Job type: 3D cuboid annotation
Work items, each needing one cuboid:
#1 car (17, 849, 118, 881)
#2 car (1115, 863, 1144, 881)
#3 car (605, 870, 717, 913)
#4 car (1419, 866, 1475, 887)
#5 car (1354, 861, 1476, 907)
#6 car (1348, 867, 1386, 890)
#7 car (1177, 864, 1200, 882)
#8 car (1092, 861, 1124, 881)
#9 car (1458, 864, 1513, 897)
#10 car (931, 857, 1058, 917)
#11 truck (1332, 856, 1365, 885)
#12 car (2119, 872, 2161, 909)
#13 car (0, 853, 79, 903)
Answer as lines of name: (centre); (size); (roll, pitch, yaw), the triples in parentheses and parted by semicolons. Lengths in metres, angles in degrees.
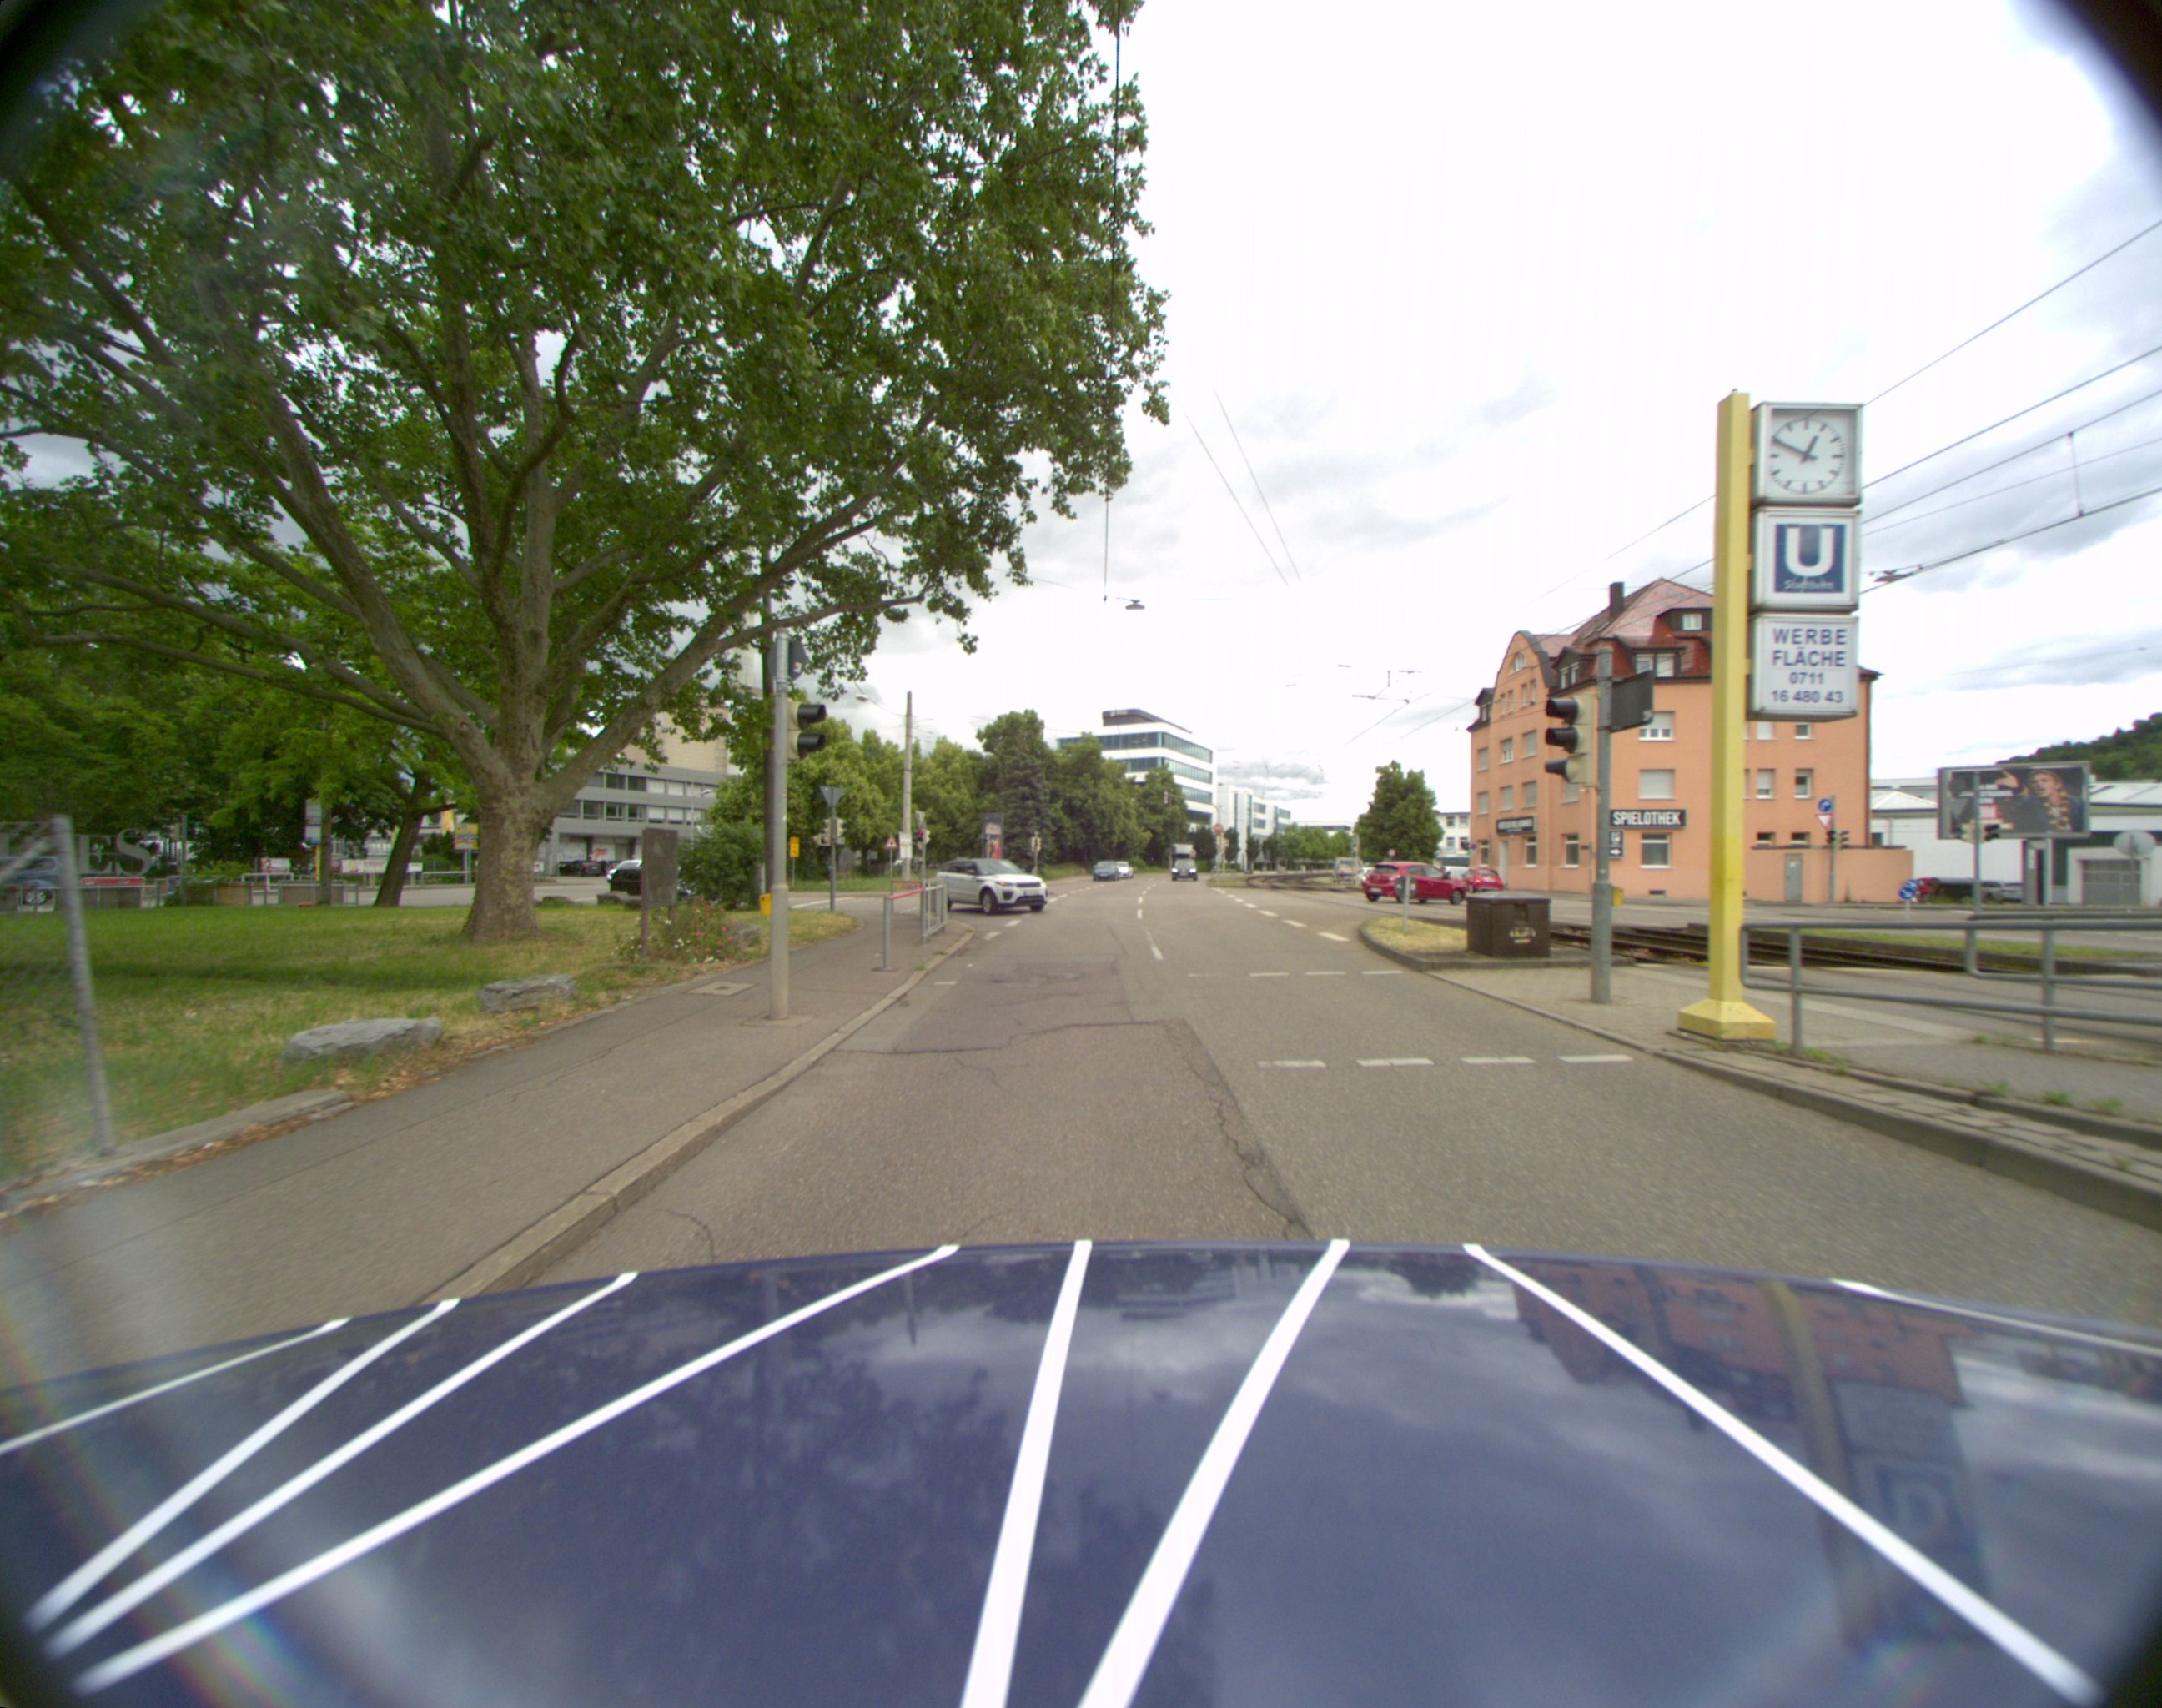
car: (-55.781, 0.572, 41.820); (4.689, 1.450, 2.002); (2, 4, 21)
car: (4.085, 1.470, 63.563); (1.746, 1.418, 4.169); (0, 0, 13)
car: (-17.777, 1.557, 32.191); (4.220, 1.761, 1.836); (-1, -2, 20)
car: (39.125, 2.355, 81.191); (6.308, 2.088, 1.746); (0, 0, -24)
car: (11.905, 1.029, 27.135); (3.744, 1.521, 1.765); (0, 2, -19)
car: (22.161, 1.935, 58.961); (1.597, 1.410, 3.378); (-3, -7, 1)
car: (8.102, 1.425, 57.279); (1.626, 1.324, 3.177); (0, 0, 9)
car: (2.020, 1.218, 55.976); (1.747, 1.383, 3.706); (0, 0, 11)
car: (23.001, 1.476, 43.348); (1.700, 1.517, 4.001); (0, 3, 12)
car: (-2.726, 0.940, 23.182); (1.921, 1.560, 4.102); (-3, 1, -38)
truck: (23.374, 1.393, 66.263); (2.315, 2.407, 5.664); (2, 0, 22)
car: (59.002, 1.984, 40.121); (4.500, 1.829, 2.002); (2, 4, 19)
car: (-42.686, 0.914, 29.122); (1.829, 1.933, 4.809); (0, 0, 16)
